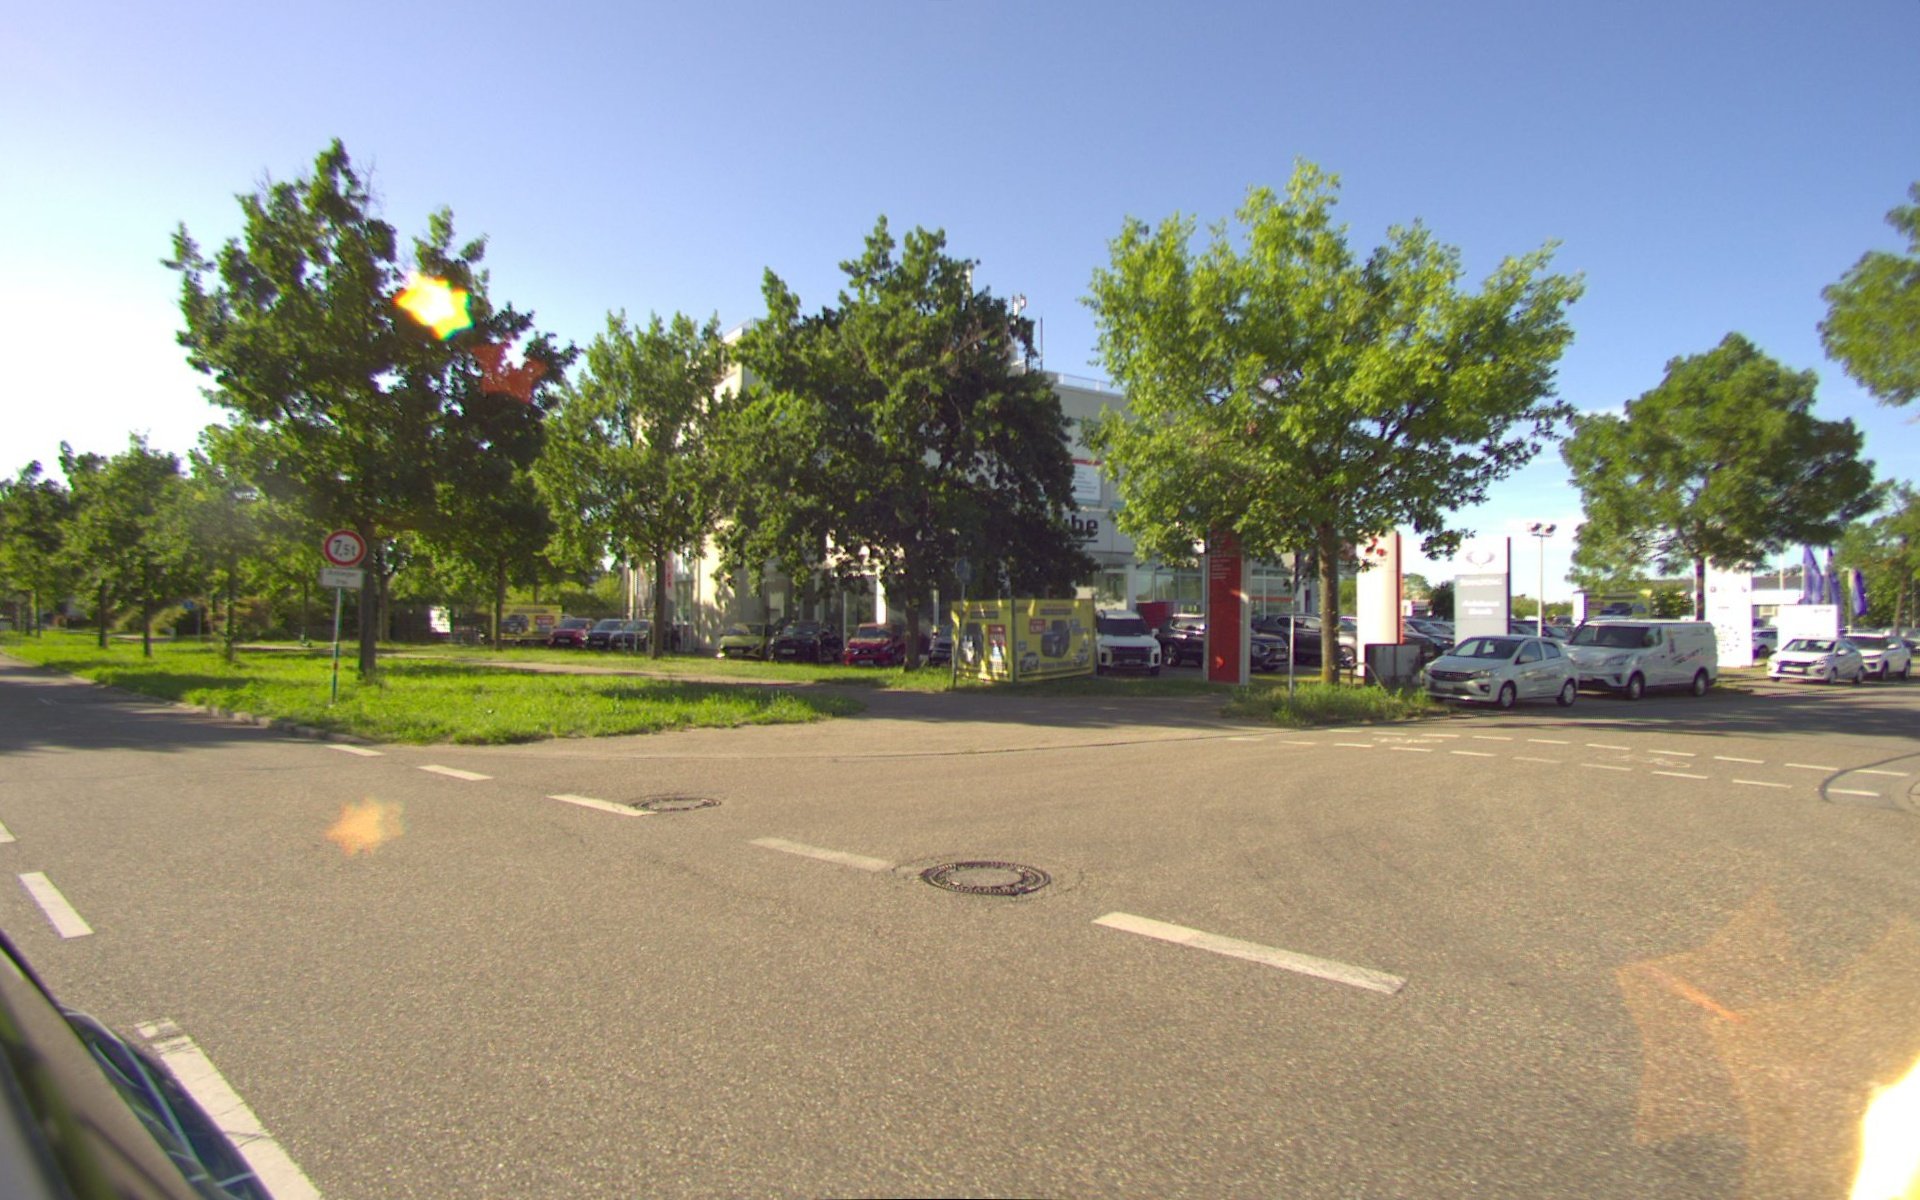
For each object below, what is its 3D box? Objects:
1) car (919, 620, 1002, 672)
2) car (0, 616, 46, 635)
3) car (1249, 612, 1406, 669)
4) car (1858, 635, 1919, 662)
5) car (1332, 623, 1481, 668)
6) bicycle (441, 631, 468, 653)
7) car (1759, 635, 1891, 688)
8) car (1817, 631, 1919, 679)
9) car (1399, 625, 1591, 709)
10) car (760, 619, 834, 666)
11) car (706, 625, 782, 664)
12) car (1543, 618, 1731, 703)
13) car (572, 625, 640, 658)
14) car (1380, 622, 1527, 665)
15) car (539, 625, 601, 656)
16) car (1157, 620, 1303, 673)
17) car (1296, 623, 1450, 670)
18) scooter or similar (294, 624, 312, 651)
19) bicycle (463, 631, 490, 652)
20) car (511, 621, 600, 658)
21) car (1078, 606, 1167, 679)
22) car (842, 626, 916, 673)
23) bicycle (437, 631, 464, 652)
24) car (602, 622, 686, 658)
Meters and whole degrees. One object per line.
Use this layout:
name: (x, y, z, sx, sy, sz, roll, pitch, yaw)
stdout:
car: (0.088, 1.450, 32.841, 1.979, 1.574, 4.155, 0, -2, 11)
car: (-84.061, 2.273, 89.474, 2.190, 1.570, 4.578, -2, -1, 41)
car: (12.733, 1.385, 35.347, 1.967, 1.826, 4.883, 1, -2, -36)
car: (57.427, 2.919, 60.789, 1.967, 1.574, 4.882, 1, -2, -37)
car: (16.970, 1.680, 38.695, 1.967, 1.604, 4.882, 1, -2, -37)
bicycle: (-26.363, 2.182, 52.787, 1.891, 1.096, 0.632, -1, -2, 43)
car: (27.508, 1.915, 32.174, 3.931, 1.523, 1.807, 0, -2, -28)
car: (31.784, 1.880, 35.151, 3.931, 1.523, 1.806, 0, -2, -30)
car: (11.290, 1.339, 21.325, 3.691, 1.630, 1.969, 1, -2, -32)
car: (-5.681, 1.458, 35.722, 1.870, 1.550, 4.168, 0, -2, 1)
car: (-8.081, 1.650, 38.234, 1.973, 1.412, 3.951, 0, -2, 1)
car: (16.857, 1.435, 25.145, 4.941, 1.921, 1.947, 1, -2, -31)
car: (-16.476, 1.910, 47.257, 1.776, 1.459, 3.999, 0, -2, 0)
car: (19.432, 1.690, 40.039, 1.967, 1.574, 4.882, 1, -2, -37)
car: (-19.113, 1.956, 49.772, 1.774, 1.459, 4.004, 0, -2, -5)
car: (8.539, 1.442, 32.326, 1.967, 1.583, 4.179, 1, -2, -37)
car: (14.987, 1.648, 36.960, 1.967, 1.574, 4.882, 1, -2, -37)
scooter or similar: (-32.068, 1.839, 49.367, 1.441, 1.289, 0.390, -1, -2, 44)
bicycle: (-25.473, 2.188, 53.302, 1.891, 1.096, 0.632, -1, -2, 43)
car: (-21.559, 2.092, 53.961, 3.965, 1.797, 2.030, -1, -1, -38)
car: (4.828, 1.264, 30.749, 1.973, 2.029, 4.856, 0, -2, 1)
car: (-2.735, 1.672, 34.920, 1.974, 1.502, 4.165, 0, -2, 4)
bicycle: (-27.181, 2.199, 53.976, 1.891, 1.096, 0.632, -1, -2, 43)
car: (-13.953, 1.755, 44.875, 1.783, 1.523, 3.982, -1, -2, 13)
